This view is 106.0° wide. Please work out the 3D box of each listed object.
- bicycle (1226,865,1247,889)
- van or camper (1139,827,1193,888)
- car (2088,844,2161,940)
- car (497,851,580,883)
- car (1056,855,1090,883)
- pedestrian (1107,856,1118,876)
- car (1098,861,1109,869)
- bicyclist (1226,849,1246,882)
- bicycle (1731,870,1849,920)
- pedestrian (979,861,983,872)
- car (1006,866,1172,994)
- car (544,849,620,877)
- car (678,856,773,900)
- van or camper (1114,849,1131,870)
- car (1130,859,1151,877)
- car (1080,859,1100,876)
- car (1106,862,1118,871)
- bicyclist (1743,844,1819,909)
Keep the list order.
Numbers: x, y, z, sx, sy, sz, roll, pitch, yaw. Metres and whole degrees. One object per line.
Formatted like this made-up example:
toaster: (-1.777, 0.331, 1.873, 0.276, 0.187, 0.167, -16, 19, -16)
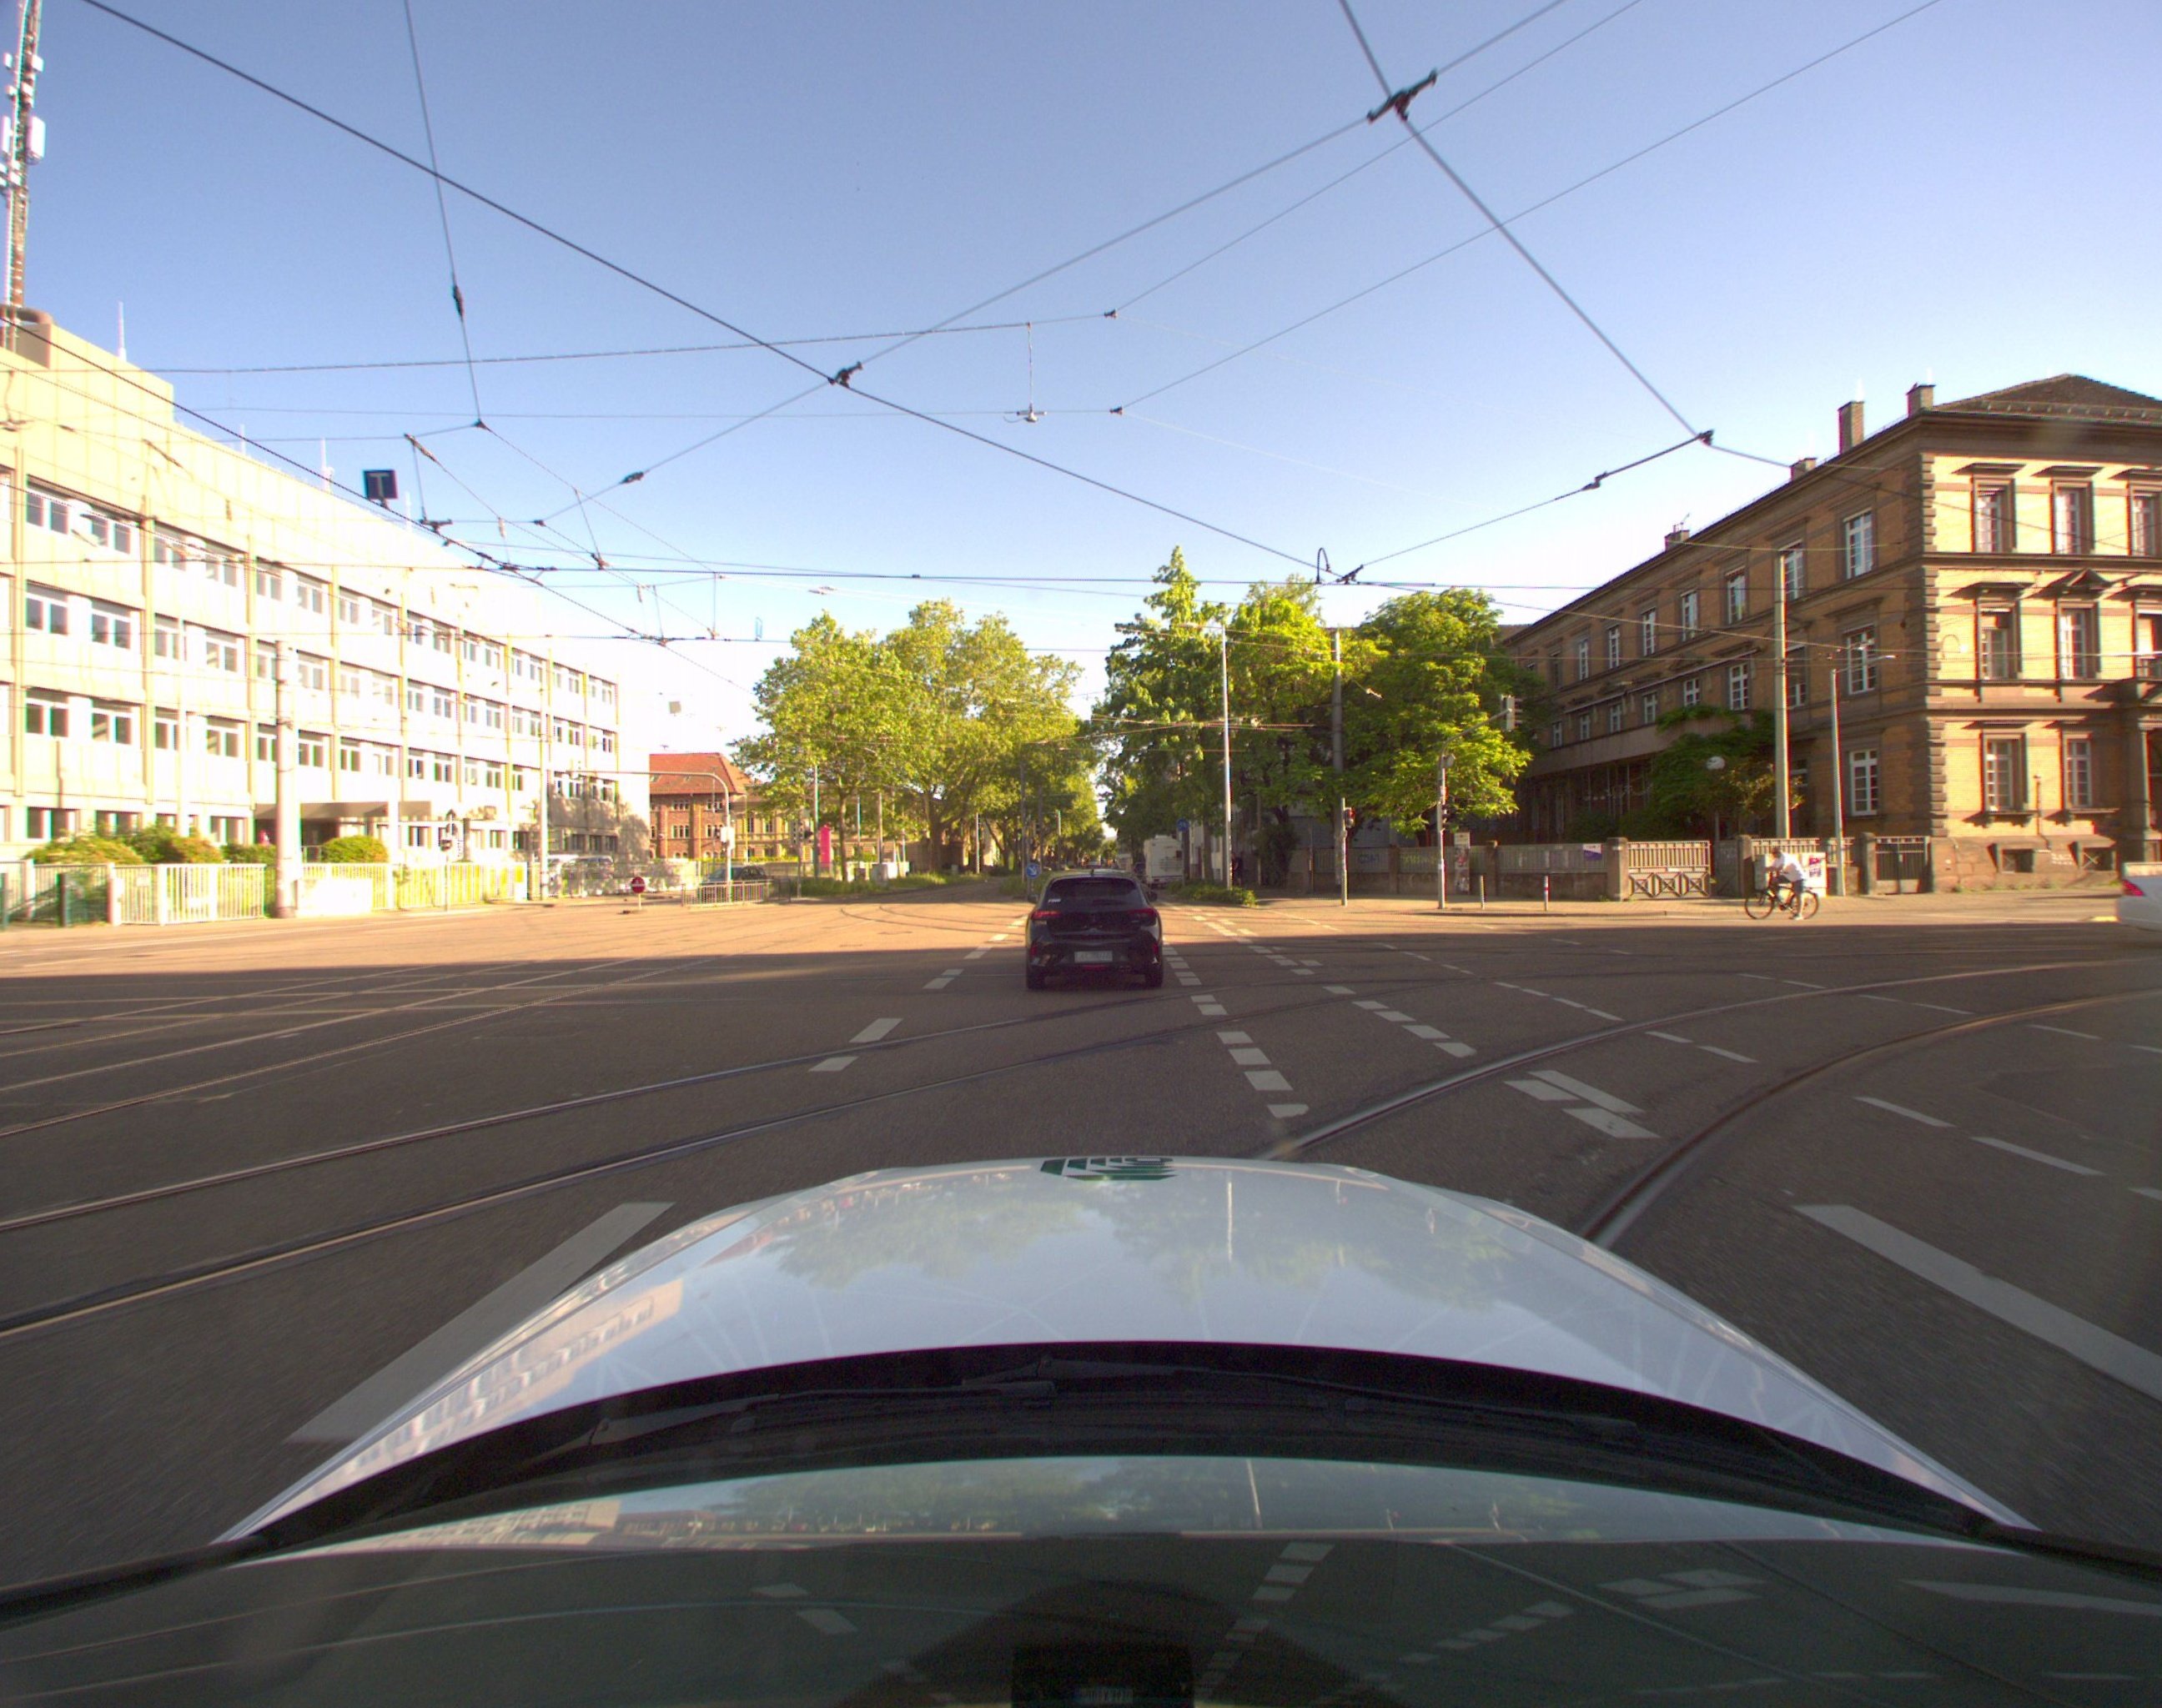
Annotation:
bicycle: (7.279, 1.055, 38.090, 0.634, 1.070, 1.961, -1, 0, 21)
van or camper: (4.922, 0.229, 48.201, 2.367, 3.125, 7.552, -4, -1, 1)
car: (17.927, 0.551, 11.175, 1.858, 1.456, 4.859, -1, 0, -25)
car: (-36.328, 0.823, 54.700, 1.983, 2.014, 4.733, -1, 0, 7)
car: (-0.480, 0.943, 52.354, 1.986, 1.627, 4.471, 1, -1, 1)
pedestrian: (3.175, 1.216, 81.866, 1.032, 2.024, 1.212, -1, -1, 1)
car: (4.152, 1.920, 147.590, 1.897, 1.425, 4.218, -1, 0, 3)
bicyclist: (7.258, 0.529, 38.094, 0.742, 1.510, 0.705, -1, -1, 21)
bicycle: (16.967, 0.962, 19.519, 2.323, 1.119, 0.843, -1, 0, -10)
pedestrian: (-16.091, 1.989, 130.830, 0.616, 1.733, 0.596, 1, -1, 1)
car: (0.205, 0.897, 11.419, 1.897, 1.425, 4.218, 0, 0, 3)
car: (-33.167, 0.590, 54.259, 1.983, 1.703, 4.386, -1, 0, 7)
car: (-16.589, 1.065, 38.293, 1.982, 1.948, 4.435, -1, 0, 9)
van or camper: (6.163, 0.835, 121.537, 2.476, 2.994, 5.438, 1, -1, 3)
car: (5.481, 1.292, 75.015, 1.783, 1.510, 3.876, -3, -1, 2)
car: (0.885, 1.264, 77.922, 1.783, 1.510, 3.876, -3, -1, 2)
car: (5.203, 2.034, 136.243, 1.897, 1.425, 4.218, -1, 0, 3)
bicyclist: (16.764, 0.525, 19.526, 0.925, 1.509, 1.009, -1, 0, -9)
